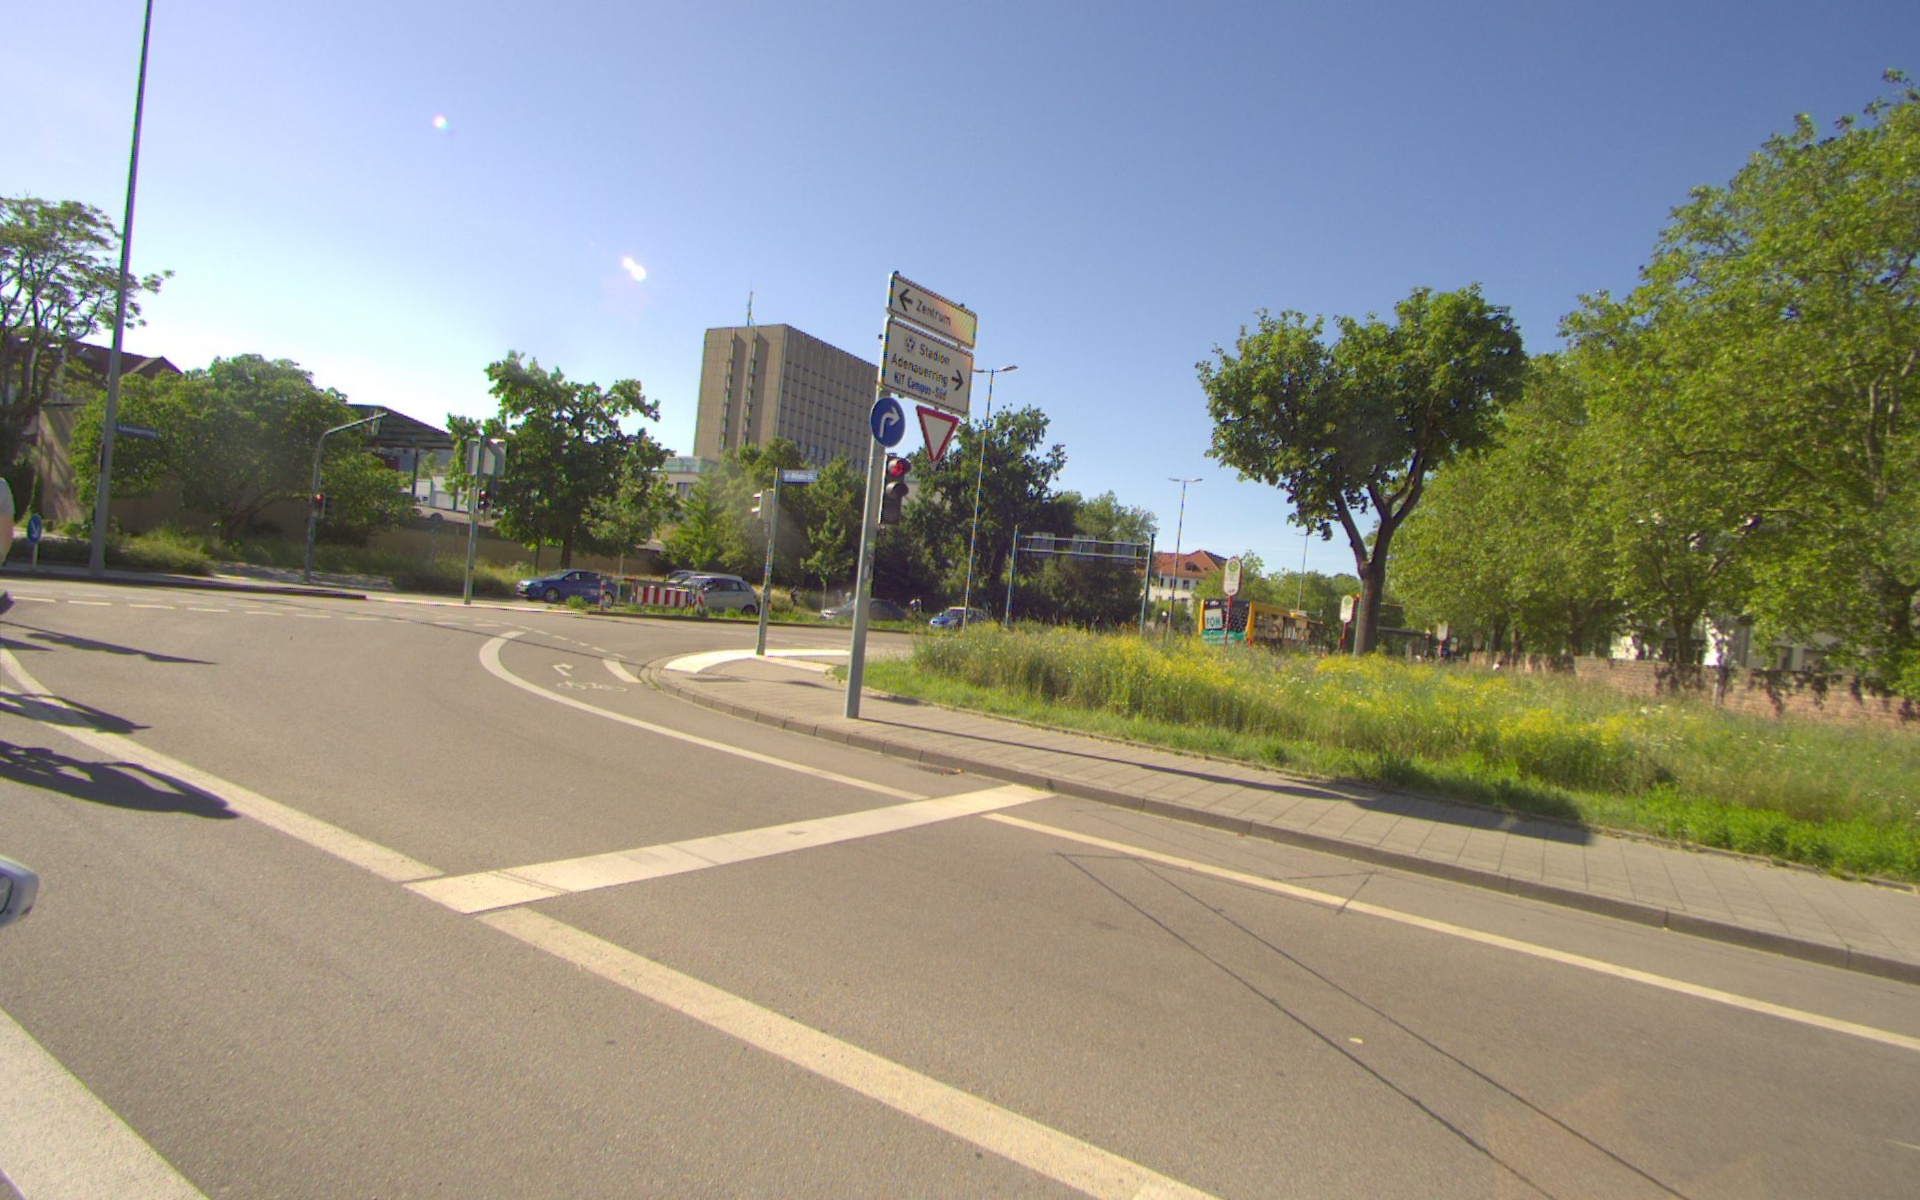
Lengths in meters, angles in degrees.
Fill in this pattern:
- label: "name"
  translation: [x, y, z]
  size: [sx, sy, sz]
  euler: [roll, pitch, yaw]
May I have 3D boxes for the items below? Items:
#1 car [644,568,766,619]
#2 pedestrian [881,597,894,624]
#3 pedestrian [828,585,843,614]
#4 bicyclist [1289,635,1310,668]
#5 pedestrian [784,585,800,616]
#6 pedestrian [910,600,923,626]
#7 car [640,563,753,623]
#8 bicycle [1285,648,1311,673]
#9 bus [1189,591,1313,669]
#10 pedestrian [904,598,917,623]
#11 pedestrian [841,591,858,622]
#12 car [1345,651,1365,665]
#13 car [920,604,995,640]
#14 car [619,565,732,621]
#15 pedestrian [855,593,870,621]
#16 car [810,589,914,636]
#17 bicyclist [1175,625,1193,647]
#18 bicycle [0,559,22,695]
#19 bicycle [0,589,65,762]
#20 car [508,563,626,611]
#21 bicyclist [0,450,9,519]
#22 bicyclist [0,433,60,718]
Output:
- label: "car"
  translation: [-9.425, -0.211, 37.430]
  size: [1.840, 1.426, 4.046]
  euler: [6, 0, 38]
- label: "pedestrian"
  translation: [-5.078, 0.715, 70.477]
  size: [0.519, 1.801, 0.561]
  euler: [7, 1, 35]
- label: "pedestrian"
  translation: [-8.213, -0.043, 66.345]
  size: [0.520, 1.800, 0.561]
  euler: [7, 1, 38]
- label: "bicyclist"
  translation: [14.796, 2.252, 43.894]
  size: [0.509, 1.368, 1.002]
  euler: [7, 1, 32]
- label: "pedestrian"
  translation: [-10.425, 0.036, 62.402]
  size: [0.519, 1.801, 0.561]
  euler: [7, 1, 35]
- label: "pedestrian"
  translation: [-3.136, 0.921, 71.922]
  size: [0.519, 1.801, 0.561]
  euler: [7, 1, 35]
- label: "car"
  translation: [-12.306, -0.272, 47.330]
  size: [1.968, 2.131, 4.885]
  euler: [6, -2, 34]
- label: "bicycle"
  translation: [14.775, 2.645, 43.931]
  size: [0.509, 1.007, 2.056]
  euler: [7, 0, 32]
- label: "bus"
  translation: [14.272, 1.583, 48.533]
  size: [2.751, 2.662, 10.097]
  euler: [6, -2, 33]
- label: "pedestrian"
  translation: [-3.546, 0.758, 72.446]
  size: [0.519, 1.716, 0.561]
  euler: [7, 1, 35]
- label: "pedestrian"
  translation: [-7.133, 0.427, 64.720]
  size: [0.702, 1.872, 0.561]
  euler: [7, 1, 35]
- label: "car"
  translation: [48.537, 7.150, 123.581]
  size: [1.812, 1.405, 4.066]
  euler: [4, -2, 27]
- label: "car"
  translation: [-0.062, 1.152, 50.778]
  size: [1.758, 1.448, 3.989]
  euler: [6, 0, 34]
- label: "car"
  translation: [-11.799, -0.273, 41.900]
  size: [1.972, 1.837, 3.982]
  euler: [7, 0, 40]
- label: "pedestrian"
  translation: [-6.517, 0.467, 67.225]
  size: [0.519, 1.801, 0.561]
  euler: [7, 1, 35]
- label: "car"
  translation: [-4.303, 0.582, 44.709]
  size: [1.968, 1.604, 4.736]
  euler: [6, 0, 33]
- label: "bicyclist"
  translation: [18.462, 2.963, 82.850]
  size: [0.778, 1.649, 1.315]
  euler: [7, 1, 37]
- label: "bicycle"
  translation: [-8.196, 0.090, 7.774]
  size: [1.935, 1.014, 0.661]
  euler: [6, -1, 26]
- label: "bicycle"
  translation: [-6.289, 0.362, 6.091]
  size: [1.946, 0.906, 0.741]
  euler: [6, -2, 33]
- label: "car"
  translation: [-16.086, -0.513, 41.339]
  size: [1.717, 1.453, 4.162]
  euler: [7, 0, 38]
- label: "bicyclist"
  translation: [-8.131, -0.371, 7.780]
  size: [1.048, 1.759, 0.647]
  euler: [7, -1, 26]
- label: "bicyclist"
  translation: [-6.215, -0.201, 6.091]
  size: [1.000, 1.688, 0.752]
  euler: [6, -1, 33]
